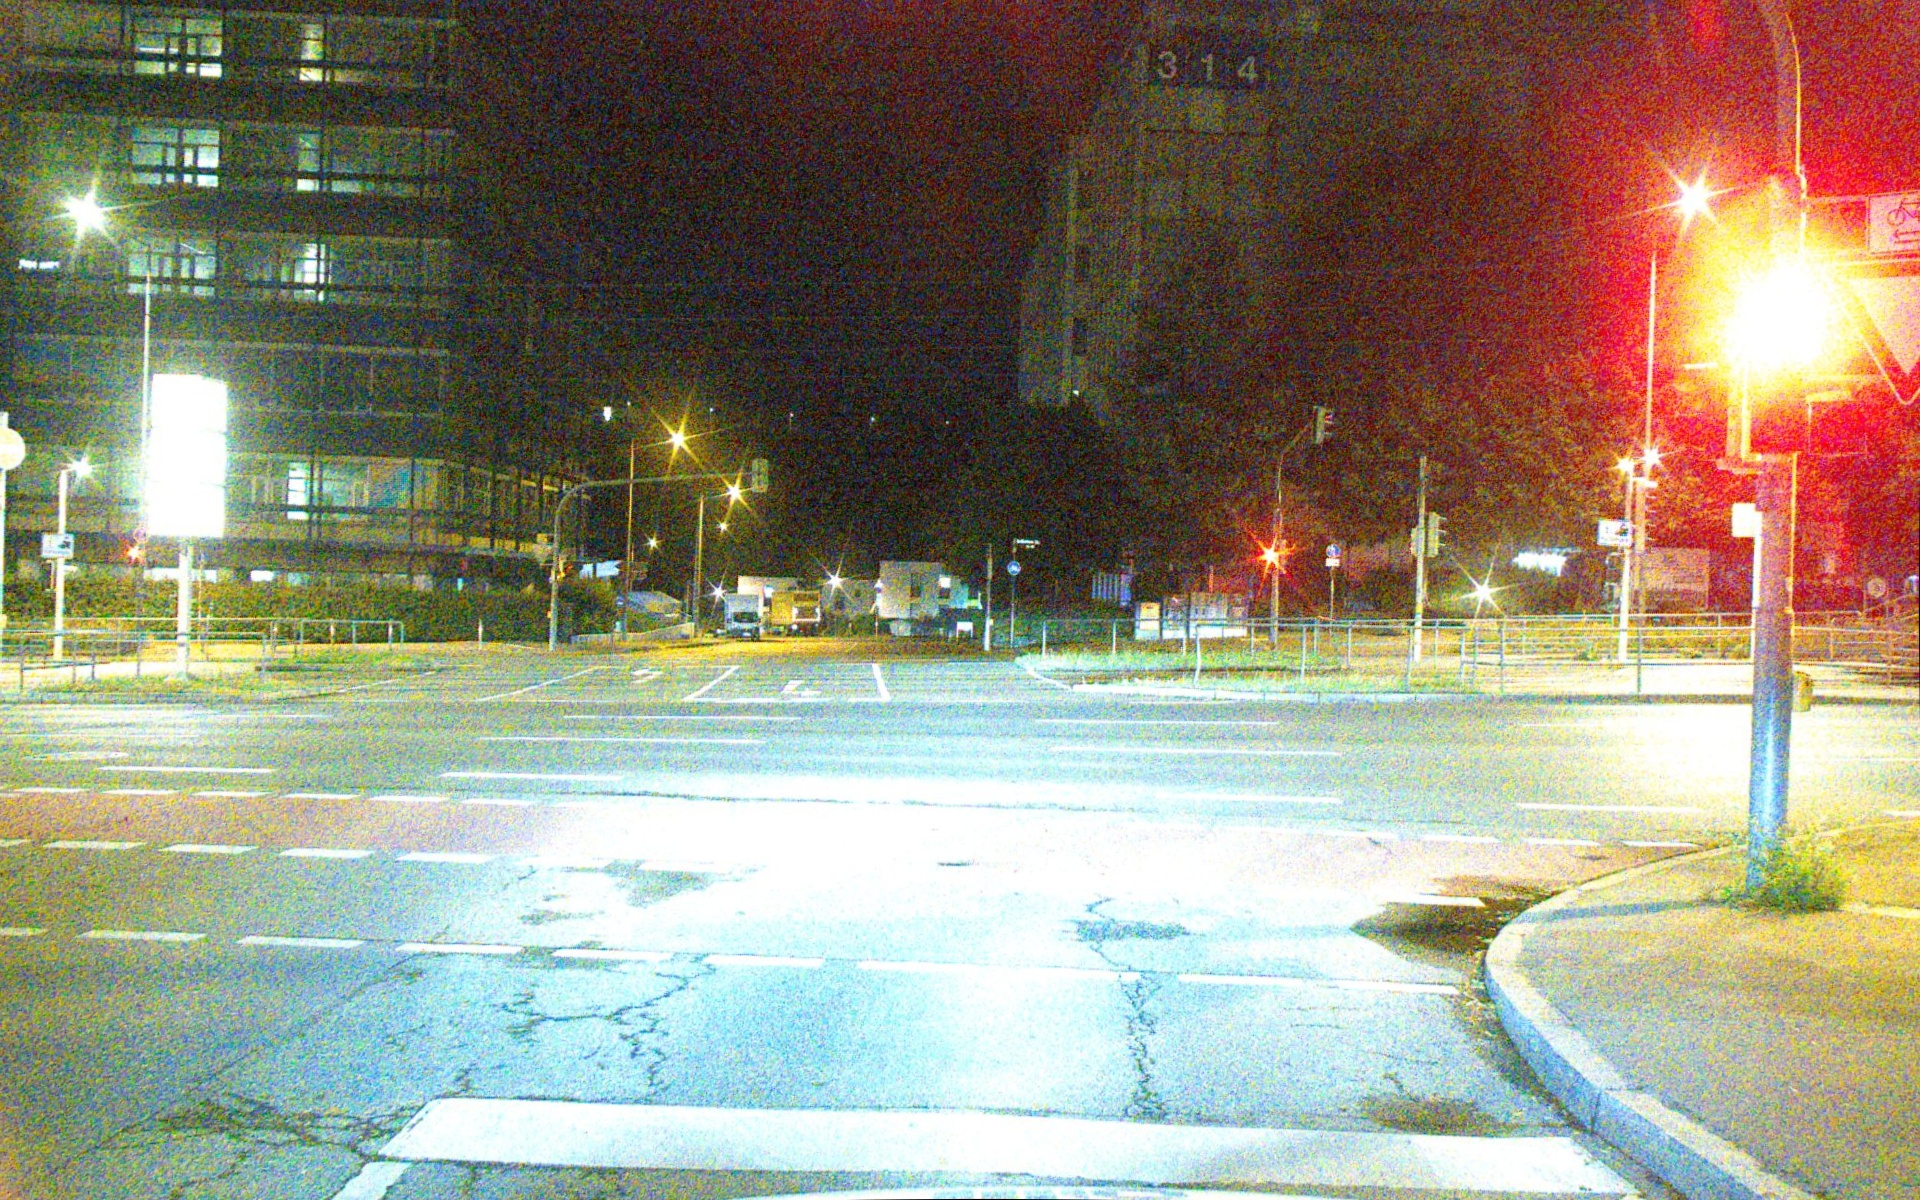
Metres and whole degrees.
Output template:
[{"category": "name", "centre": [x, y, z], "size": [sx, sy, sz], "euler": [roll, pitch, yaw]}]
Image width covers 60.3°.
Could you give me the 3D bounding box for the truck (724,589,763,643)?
[{"category": "truck", "centre": [-15.619, 1.139, 119.029], "size": [2.535, 3.772, 5.724], "euler": [1, 0, -9]}]

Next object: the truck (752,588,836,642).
[{"category": "truck", "centre": [-15.288, 1.302, 150.972], "size": [4.751, 4.627, 12.593], "euler": [1, 0, -19]}]

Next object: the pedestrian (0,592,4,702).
[{"category": "pedestrian", "centre": [-14.795, 0.708, 24.586], "size": [0.656, 1.663, 0.862], "euler": [1, -1, -5]}]
